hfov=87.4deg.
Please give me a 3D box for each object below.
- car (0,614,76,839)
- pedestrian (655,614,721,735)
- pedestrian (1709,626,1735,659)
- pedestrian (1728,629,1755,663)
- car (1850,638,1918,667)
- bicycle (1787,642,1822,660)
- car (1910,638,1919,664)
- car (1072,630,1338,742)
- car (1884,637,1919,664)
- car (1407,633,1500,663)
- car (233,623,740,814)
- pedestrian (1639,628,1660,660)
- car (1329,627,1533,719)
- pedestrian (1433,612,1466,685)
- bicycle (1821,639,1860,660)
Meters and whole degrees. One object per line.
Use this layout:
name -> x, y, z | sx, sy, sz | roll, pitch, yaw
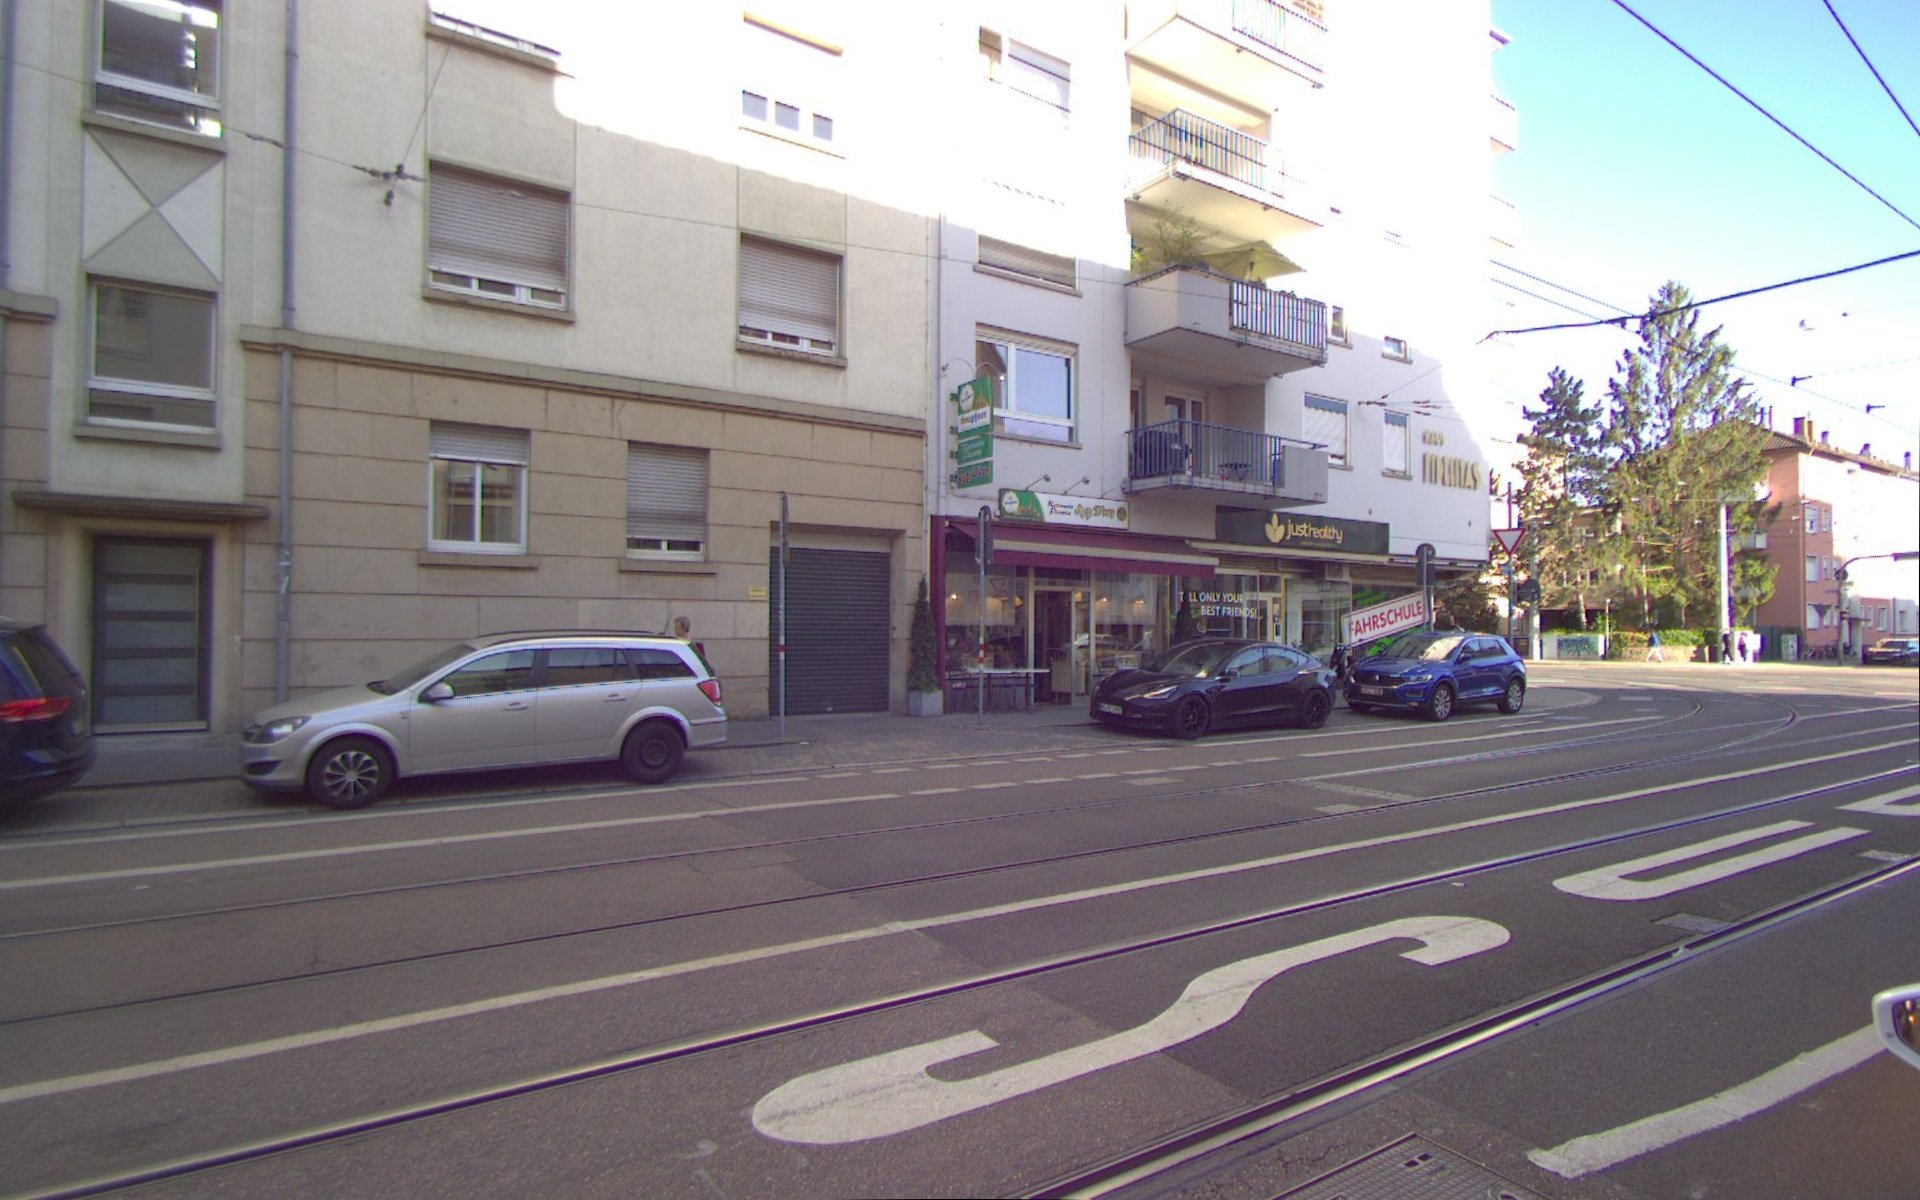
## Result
car -> -9.132, 0.890, 7.039 | 4.202, 1.637, 1.688 | 2, -1, -36
pedestrian -> -3.641, 0.970, 13.425 | 0.713, 1.569, 0.694 | 0, -1, -30
pedestrian -> 39.476, 2.205, 52.022 | 0.728, 1.713, 0.841 | 1, -1, -27
pedestrian -> 39.629, 2.340, 50.946 | 0.728, 1.713, 0.841 | 1, -1, -27
car -> 49.505, 2.779, 53.806 | 3.961, 1.452, 1.898 | 1, -2, -36
bicycle -> 46.797, 2.792, 55.679 | 2.568, 0.964, 0.729 | 1, -2, -32
car -> 58.070, 2.990, 59.444 | 3.959, 1.517, 1.899 | 1, -2, -34
car -> 3.982, 1.301, 16.059 | 4.267, 1.529, 1.689 | 2, -1, -34
car -> 54.241, 2.846, 56.932 | 3.959, 1.517, 1.899 | 1, -2, -34
car -> 27.497, 2.657, 56.047 | 1.843, 1.594, 4.345 | 2, -2, -43
car -> -4.627, 1.061, 10.200 | 4.340, 1.529, 1.689 | 2, -1, -34
pedestrian -> 36.292, 2.320, 52.861 | 0.835, 1.647, 0.515 | -1, -1, 27
car -> 8.978, 1.323, 19.066 | 3.959, 1.529, 1.733 | 2, -1, -35
pedestrian -> 13.965, 1.375, 28.653 | 0.480, 2.040, 0.683 | 1, -1, -30
bicycle -> 52.143, 2.927, 59.488 | 3.267, 1.241, 0.844 | 1, -2, -32
